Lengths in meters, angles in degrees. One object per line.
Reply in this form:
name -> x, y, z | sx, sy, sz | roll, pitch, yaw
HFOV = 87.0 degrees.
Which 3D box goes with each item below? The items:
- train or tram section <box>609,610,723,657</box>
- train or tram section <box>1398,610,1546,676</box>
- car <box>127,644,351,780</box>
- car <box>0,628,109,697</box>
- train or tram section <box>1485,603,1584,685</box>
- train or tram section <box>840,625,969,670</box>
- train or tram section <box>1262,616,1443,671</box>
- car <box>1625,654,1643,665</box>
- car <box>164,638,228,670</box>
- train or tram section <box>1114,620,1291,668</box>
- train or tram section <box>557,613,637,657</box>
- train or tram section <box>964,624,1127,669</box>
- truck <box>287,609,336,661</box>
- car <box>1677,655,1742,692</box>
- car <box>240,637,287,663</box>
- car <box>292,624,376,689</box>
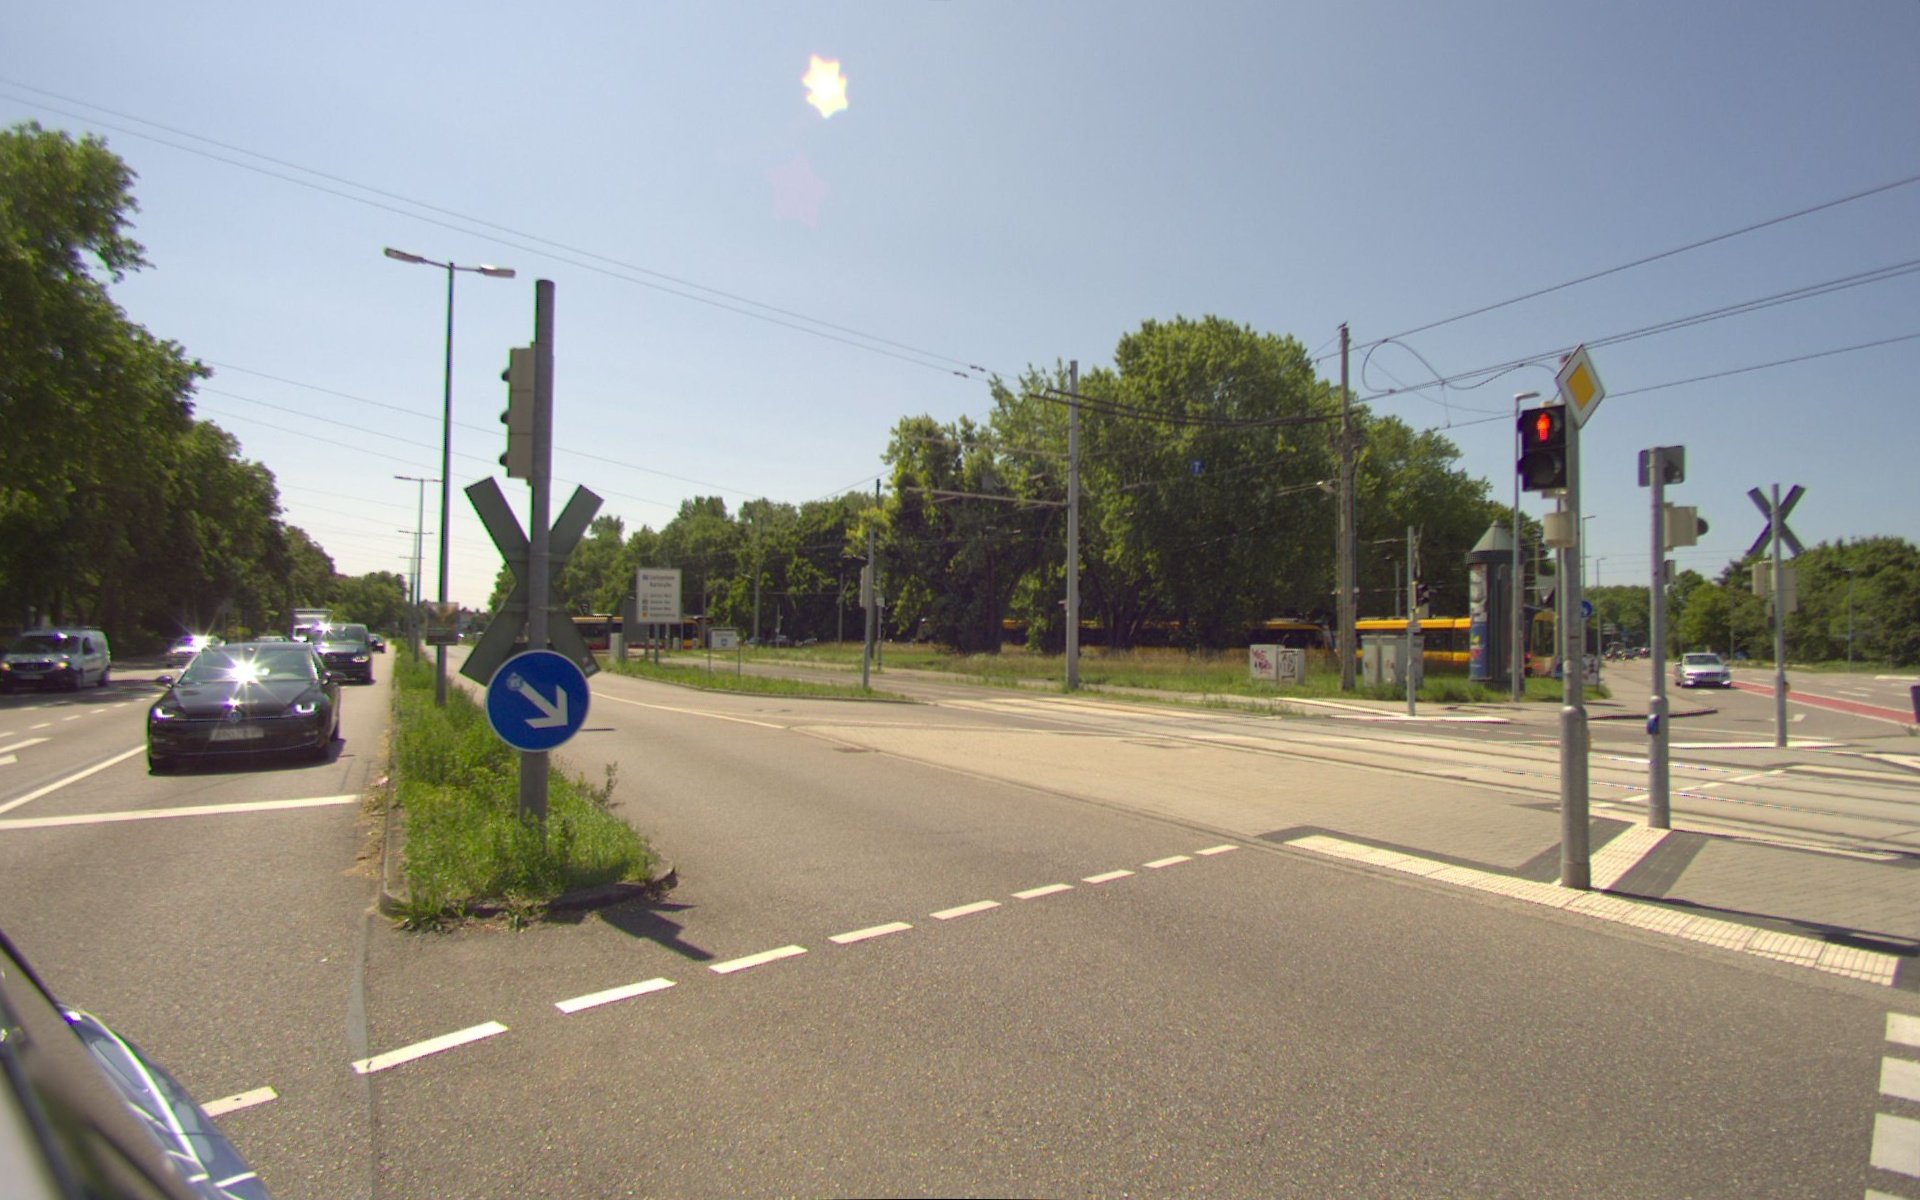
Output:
train or tram section -> -28.479, 3.343, 97.722 | 12.709, 4.287, 2.992 | -2, -3, 33
train or tram section -> 32.226, 2.776, 64.540 | 2.982, 3.788, 11.622 | 0, -3, -2
car -> -8.906, 1.288, 12.843 | 1.680, 1.415, 4.066 | 1, -3, -26
car -> -26.464, 1.752, 29.482 | 1.864, 1.806, 4.405 | -1, -1, -31
train or tram section -> 30.013, 2.309, 53.446 | 3.007, 3.788, 12.890 | -2, -3, 23
train or tram section -> -4.901, 4.245, 90.115 | 11.284, 3.788, 3.024 | -1, -3, 1
train or tram section -> 29.042, 3.290, 76.135 | 2.974, 3.788, 14.092 | 1, -3, -28
car -> 90.056, 7.957, 135.213 | 1.621, 1.467, 3.466 | -2, -4, 29
car -> -36.189, 2.536, 48.030 | 1.817, 1.436, 4.228 | 1, -2, -29
train or tram section -> 20.269, 3.782, 85.236 | 14.117, 3.788, 2.999 | -2, -3, 26
train or tram section -> -37.966, 3.741, 105.456 | 2.980, 4.287, 12.761 | 2, -4, -43
train or tram section -> 7.530, 4.106, 89.159 | 14.024, 3.788, 3.019 | -1, -3, 7
truck -> -47.242, 2.517, 73.869 | 2.544, 3.560, 7.735 | -1, -1, -29
car -> 33.653, 3.278, 45.536 | 1.739, 1.558, 4.215 | -1, -3, 29
car -> -40.984, 2.918, 59.625 | 1.817, 1.436, 4.228 | 1, -2, -29
car -> -20.335, 1.801, 33.048 | 1.909, 1.946, 4.861 | 2, -3, -28
